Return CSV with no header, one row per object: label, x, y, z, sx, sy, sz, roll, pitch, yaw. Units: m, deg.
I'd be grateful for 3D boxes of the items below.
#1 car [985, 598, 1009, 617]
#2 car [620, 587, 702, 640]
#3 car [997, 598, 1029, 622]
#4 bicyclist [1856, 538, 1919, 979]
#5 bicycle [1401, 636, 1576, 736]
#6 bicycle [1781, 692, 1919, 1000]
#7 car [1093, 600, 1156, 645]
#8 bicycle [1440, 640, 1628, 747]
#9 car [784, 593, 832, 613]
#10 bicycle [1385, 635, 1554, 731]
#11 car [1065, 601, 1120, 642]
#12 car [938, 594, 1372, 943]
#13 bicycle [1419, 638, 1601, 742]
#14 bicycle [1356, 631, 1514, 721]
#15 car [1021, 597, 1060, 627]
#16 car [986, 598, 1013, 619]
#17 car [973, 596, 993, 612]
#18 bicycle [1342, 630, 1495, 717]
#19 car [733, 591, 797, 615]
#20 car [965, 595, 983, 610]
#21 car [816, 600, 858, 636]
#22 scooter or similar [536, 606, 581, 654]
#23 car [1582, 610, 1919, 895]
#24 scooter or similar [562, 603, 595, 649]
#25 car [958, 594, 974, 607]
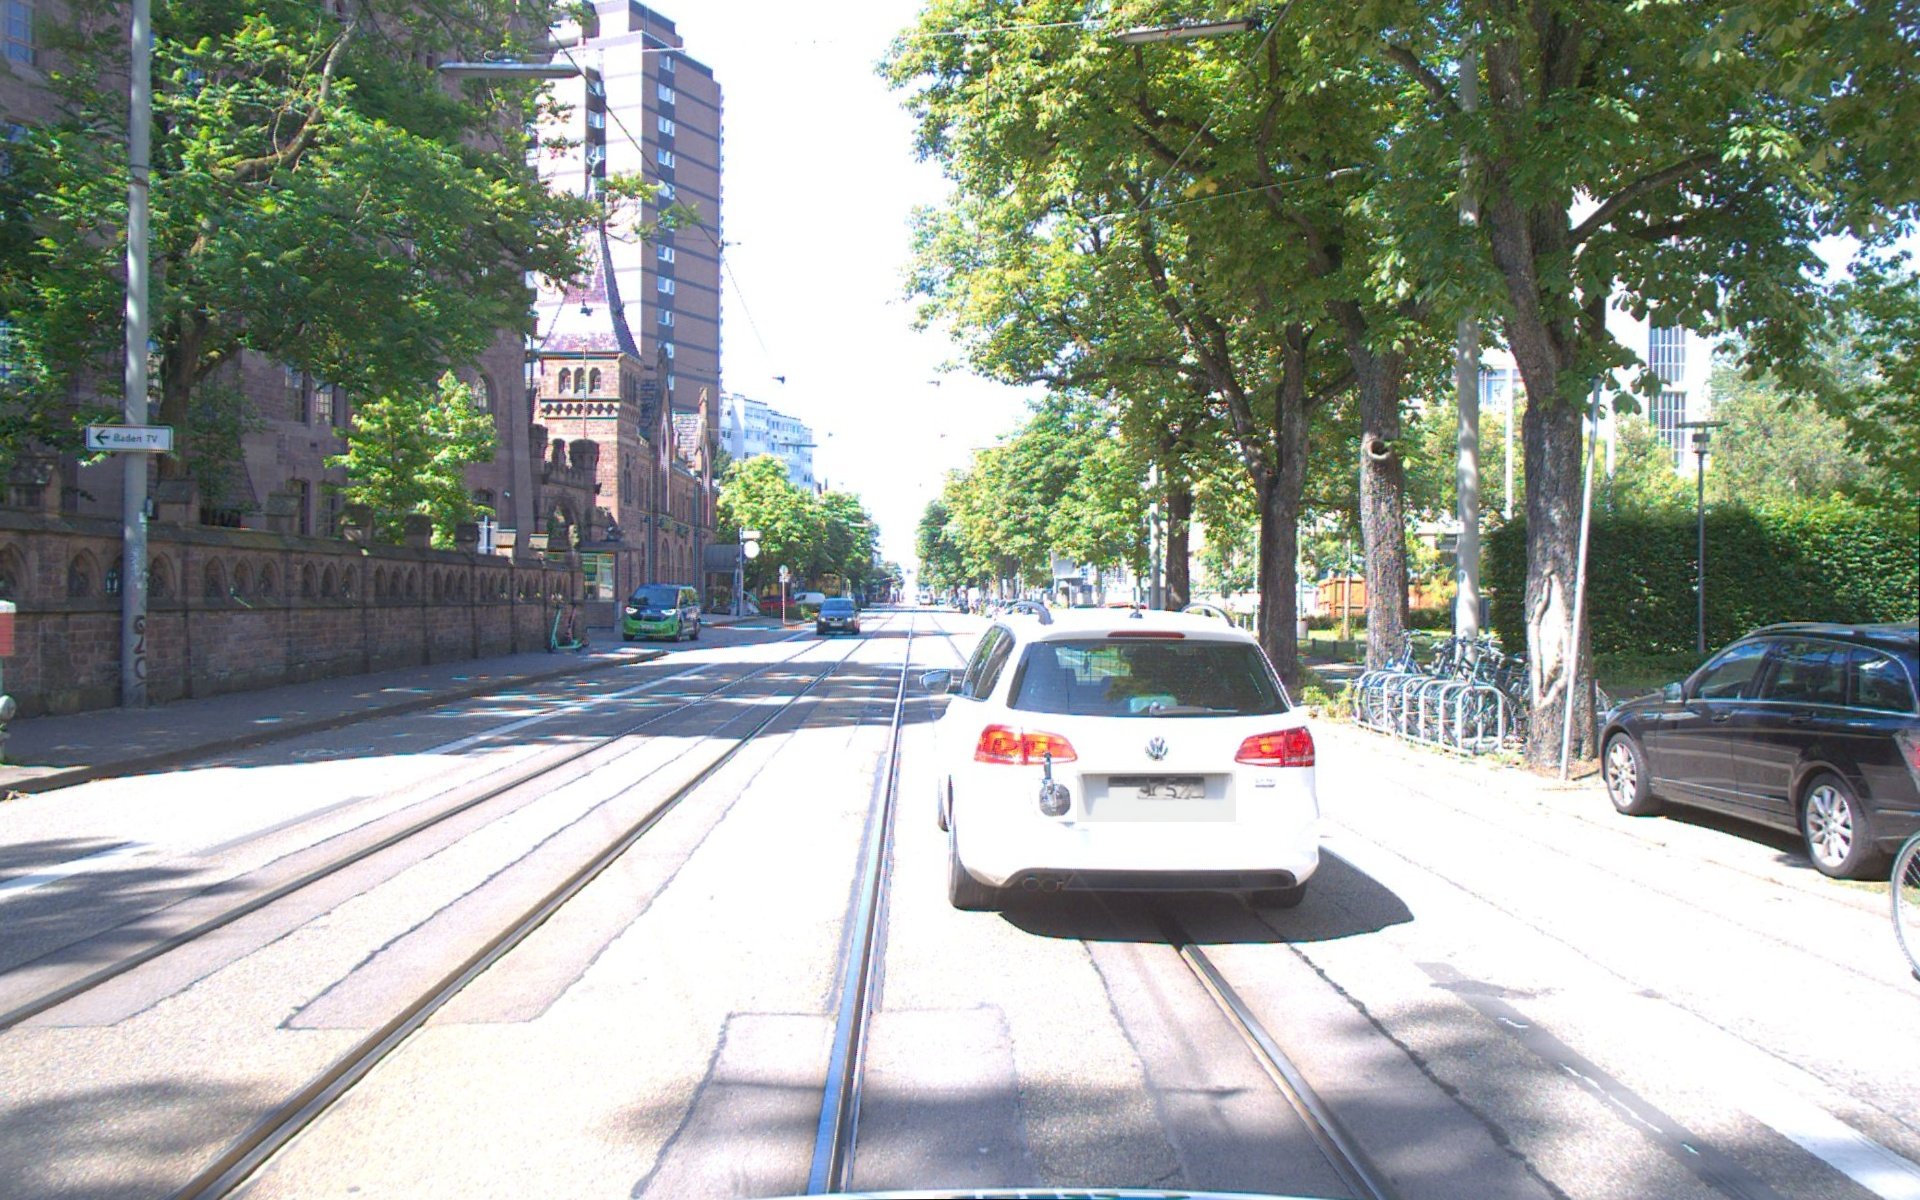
car,2.744,0.578,124.797,1.678,1.425,3.842,0,0,-1
car,-10.437,0.458,58.073,1.952,1.788,4.712,0,0,1
car,3.159,0.595,99.228,1.679,1.425,3.841,0,0,-2
bicyclist,3.992,0.594,6.280,0.770,1.658,0.738,0,0,-2
bicycle,5.663,0.916,17.748,1.753,1.028,0.487,0,0,-7
bicycle,4.009,0.960,6.239,0.794,1.097,2.011,1,0,-1
car,4.939,0.644,49.942,1.677,1.303,3.844,0,0,3
bicycle,5.749,0.929,16.590,1.753,1.028,0.487,0,0,-7
car,-13.809,0.271,150.048,3.958,1.847,1.973,0,0,-37
bicycle,5.642,0.908,18.334,1.753,1.028,0.487,0,0,-7
car,4.744,0.751,59.656,1.678,1.425,3.843,0,0,0
car,0.803,0.744,9.213,1.718,1.467,4.410,0,-1,-3
bicycle,5.703,0.922,17.172,1.753,1.028,0.487,0,0,-7
bicycle,5.625,0.894,19.612,1.753,1.028,0.487,0,0,-7
car,3.944,0.570,81.402,1.678,1.425,3.842,0,0,-1
car,2.670,0.567,112.322,1.678,1.425,3.842,0,0,-1
car,1.989,0.332,144.535,1.678,1.425,3.842,0,0,-1
bicycle,5.574,0.887,20.130,1.753,1.028,0.487,0,0,-7
car,-13.800,0.227,116.952,4.061,1.557,1.919,2,0,-23
car,1.417,0.245,165.002,1.678,1.425,3.842,0,0,-1
car,-5.026,0.713,67.861,1.463,1.409,3.642,0,0,-1
scooter or similar,-10.042,0.734,41.399,0.397,1.175,1.140,0,0,32
car,5.913,0.828,11.170,1.630,1.469,4.632,0,0,-1
scooter or similar,-10.386,0.709,44.995,0.413,1.221,1.144,0,0,13
car,0.691,0.047,186.109,1.678,1.425,3.842,0,0,-1
